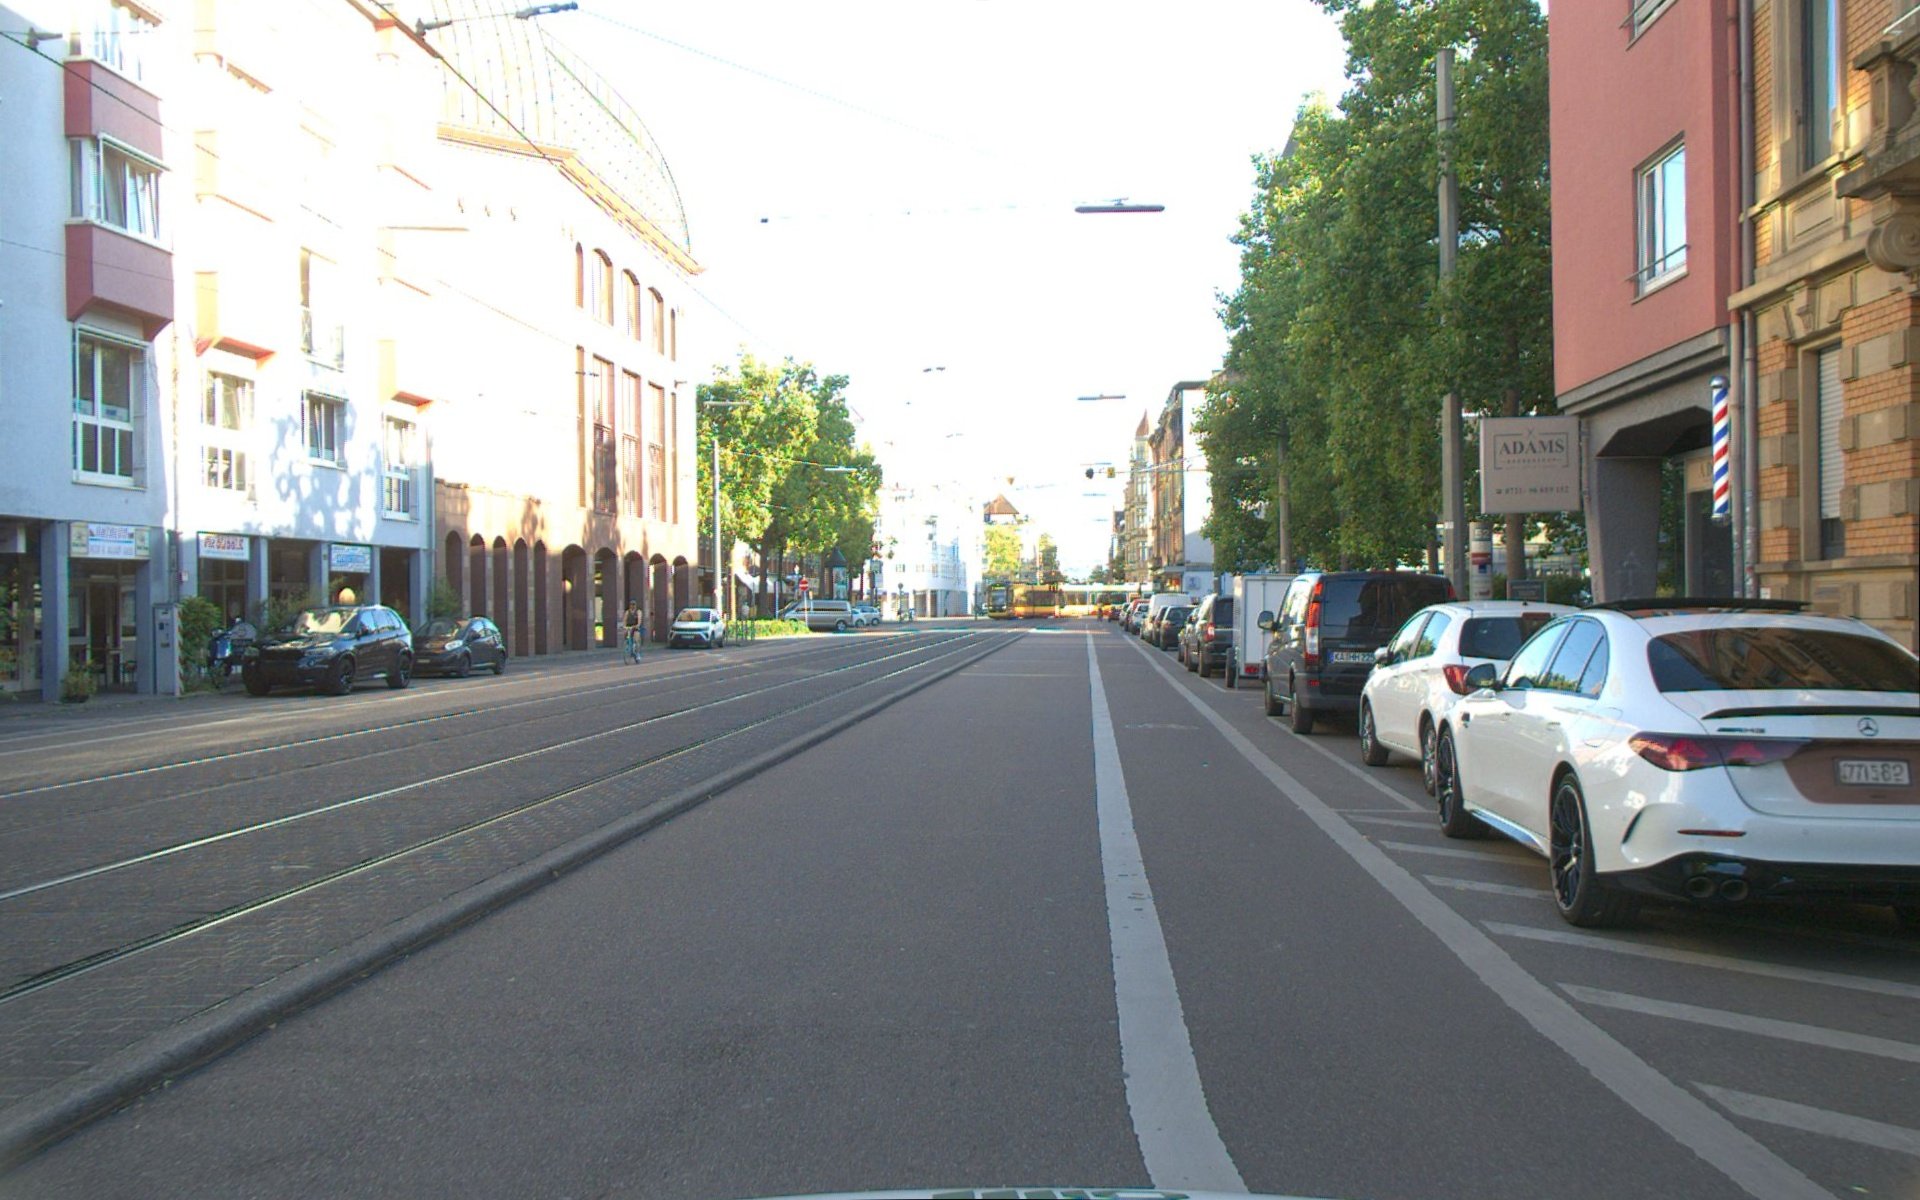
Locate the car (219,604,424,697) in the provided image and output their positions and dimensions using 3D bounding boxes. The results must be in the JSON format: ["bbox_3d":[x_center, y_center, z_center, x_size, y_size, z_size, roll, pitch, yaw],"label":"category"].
[{"bbox_3d":[-12.915,0.997,33.827,2.047,1.743,4.821,1,-1,3],"label":"car"}]

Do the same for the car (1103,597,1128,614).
[{"bbox_3d":[13.574,0.491,144.615,2.022,1.413,4.227,2,0,4],"label":"car"}]

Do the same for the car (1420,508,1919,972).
[{"bbox_3d":[3.924,0.555,8.901,1.925,1.802,4.878,1,0,5],"label":"car"}]

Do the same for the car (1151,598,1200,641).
[{"bbox_3d":[7.862,0.677,60.589,1.587,1.499,3.973,0,0,5],"label":"car"}]

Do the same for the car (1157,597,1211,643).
[{"bbox_3d":[7.450,0.649,55.220,1.587,1.457,3.987,0,0,5],"label":"car"}]

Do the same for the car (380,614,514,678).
[{"bbox_3d":[-12.627,1.095,40.956,1.829,1.476,3.586,1,0,7],"label":"car"}]

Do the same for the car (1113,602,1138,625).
[{"bbox_3d":[11.774,0.957,117.893,1.587,1.582,4.085,1,0,4],"label":"car"}]

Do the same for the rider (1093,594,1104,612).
[{"bbox_3d":[12.394,0.271,147.666,0.865,1.507,0.713,1,0,14],"label":"rider"}]

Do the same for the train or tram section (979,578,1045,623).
[{"bbox_3d":[5.129,0.085,159.208,2.636,4.029,12.092,2,0,20],"label":"train or tram section"}]

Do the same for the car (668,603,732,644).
[{"bbox_3d":[-10.636,0.934,67.913,1.830,1.628,4.255,0,0,2],"label":"car"}]

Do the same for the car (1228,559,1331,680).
[{"bbox_3d":[6.018,0.363,31.425,1.669,2.157,3.709,0,-1,7],"label":"car"}]

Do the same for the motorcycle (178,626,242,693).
[{"bbox_3d":[-14.562,1.138,32.148,0.658,1.226,2.134,1,-1,-12],"label":"motorcycle"}]

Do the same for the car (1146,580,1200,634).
[{"bbox_3d":[8.494,0.278,66.391,1.929,2.049,4.561,-2,0,5],"label":"car"}]

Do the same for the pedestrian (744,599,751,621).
[{"bbox_3d":[-13.211,0.631,102.747,0.356,1.367,0.481,2,0,-16],"label":"pedestrian"}]

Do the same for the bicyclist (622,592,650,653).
[{"bbox_3d":[-9.467,0.648,48.299,0.559,1.742,0.746,-2,-1,4],"label":"bicyclist"}]

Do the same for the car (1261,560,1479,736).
[{"bbox_3d":[4.964,0.524,20.705,1.914,1.901,4.992,1,0,6],"label":"car"}]

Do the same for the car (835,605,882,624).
[{"bbox_3d":[-8.324,1.189,135.432,3.479,1.507,1.568,1,0,-28],"label":"car"}]

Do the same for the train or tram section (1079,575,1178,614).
[{"bbox_3d":[18.218,-0.572,178.058,11.130,3.818,2.674,2,0,-30],"label":"train or tram section"}]

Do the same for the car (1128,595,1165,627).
[{"bbox_3d":[9.548,0.551,84.876,1.686,1.595,4.085,-1,0,4],"label":"car"}]

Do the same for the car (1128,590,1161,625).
[{"bbox_3d":[10.161,0.425,91.207,1.587,1.845,4.085,1,0,4],"label":"car"}]

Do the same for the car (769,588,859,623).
[{"bbox_3d":[-9.355,0.367,105.922,5.191,2.078,2.397,2,-2,-28],"label":"car"}]

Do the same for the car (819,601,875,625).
[{"bbox_3d":[-8.585,0.979,125.202,3.822,1.656,1.860,1,0,-27],"label":"car"}]

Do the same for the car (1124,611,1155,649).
[{"bbox_3d":[10.346,1.718,95.574,1.587,2.041,3.833,1,0,4],"label":"car"}]

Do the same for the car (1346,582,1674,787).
[{"bbox_3d":[4.620,0.634,14.494,1.694,1.522,3.963,1,0,2],"label":"car"}]

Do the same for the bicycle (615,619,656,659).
[{"bbox_3d":[-9.446,1.136,48.227,0.570,1.096,2.187,-2,0,5],"label":"bicycle"}]

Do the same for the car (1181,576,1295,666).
[{"bbox_3d":[6.095,0.438,36.742,1.909,1.819,5.183,1,0,3],"label":"car"}]

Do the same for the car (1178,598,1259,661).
[{"bbox_3d":[6.662,0.726,43.073,1.680,1.452,4.678,0,1,4],"label":"car"}]

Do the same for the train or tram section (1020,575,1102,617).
[{"bbox_3d":[10.491,-0.355,170.181,2.643,3.946,12.811,2,0,32],"label":"train or tram section"}]
